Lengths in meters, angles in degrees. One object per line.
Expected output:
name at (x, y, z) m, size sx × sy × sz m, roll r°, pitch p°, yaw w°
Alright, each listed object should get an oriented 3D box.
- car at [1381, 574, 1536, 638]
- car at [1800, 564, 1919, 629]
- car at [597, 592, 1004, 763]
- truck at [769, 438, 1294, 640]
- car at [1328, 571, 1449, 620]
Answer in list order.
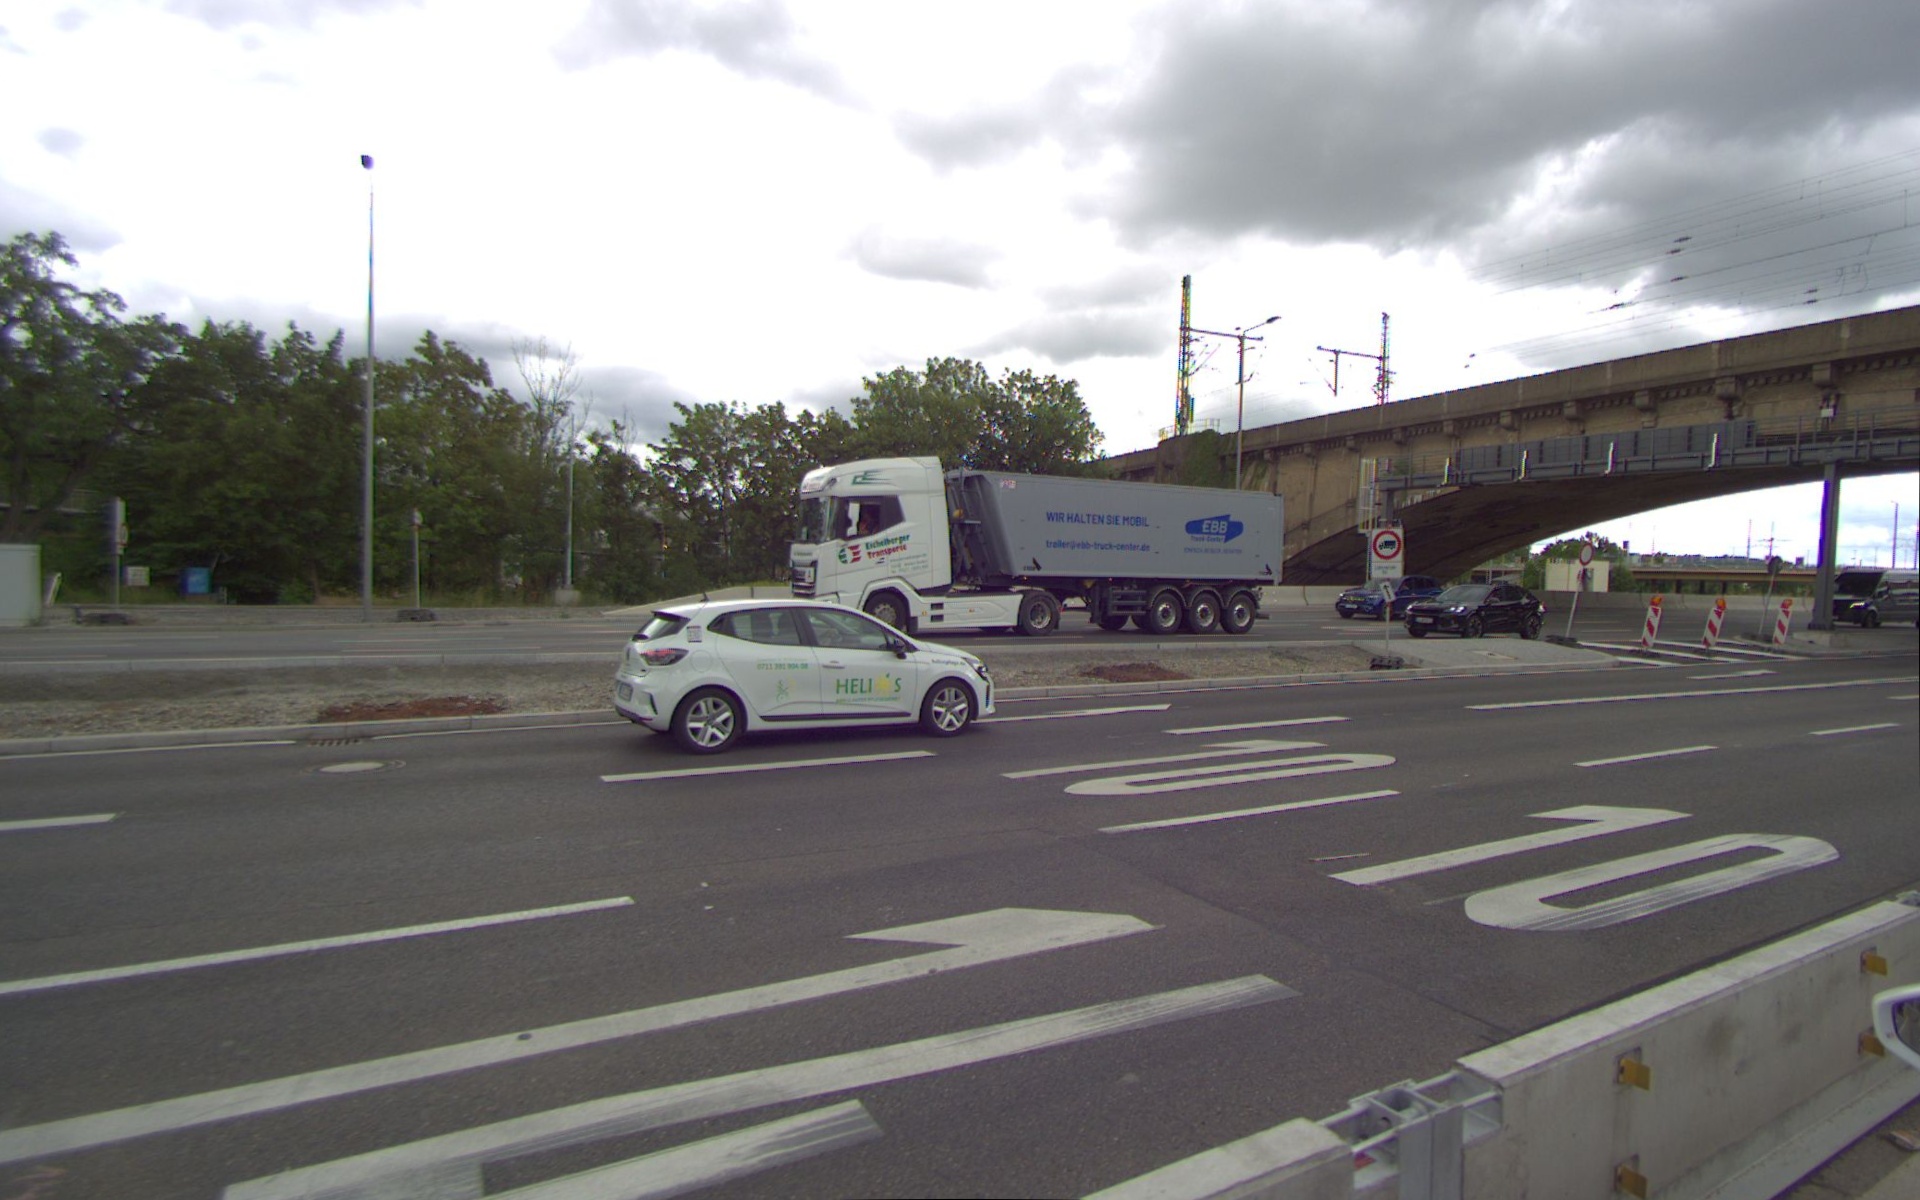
car at (13.681, 0.193, 27.506) m, size 4.399 × 1.642 × 1.698 m, roll 1°, pitch -1°, yaw -30°
car at (41.456, -0.170, 45.646) m, size 6.049 × 2.814 × 2.212 m, roll 1°, pitch 2°, yaw -19°
car at (-1.612, 0.674, 10.555) m, size 3.950 × 1.504 × 1.568 m, roll 0°, pitch 1°, yaw -31°
truck at (2.331, -1.308, 25.203) m, size 13.817 × 4.117 × 2.886 m, roll 0°, pitch 2°, yaw -29°
car at (15.889, -0.177, 37.179) m, size 4.435 × 1.706 × 1.876 m, roll 0°, pitch 1°, yaw -31°
